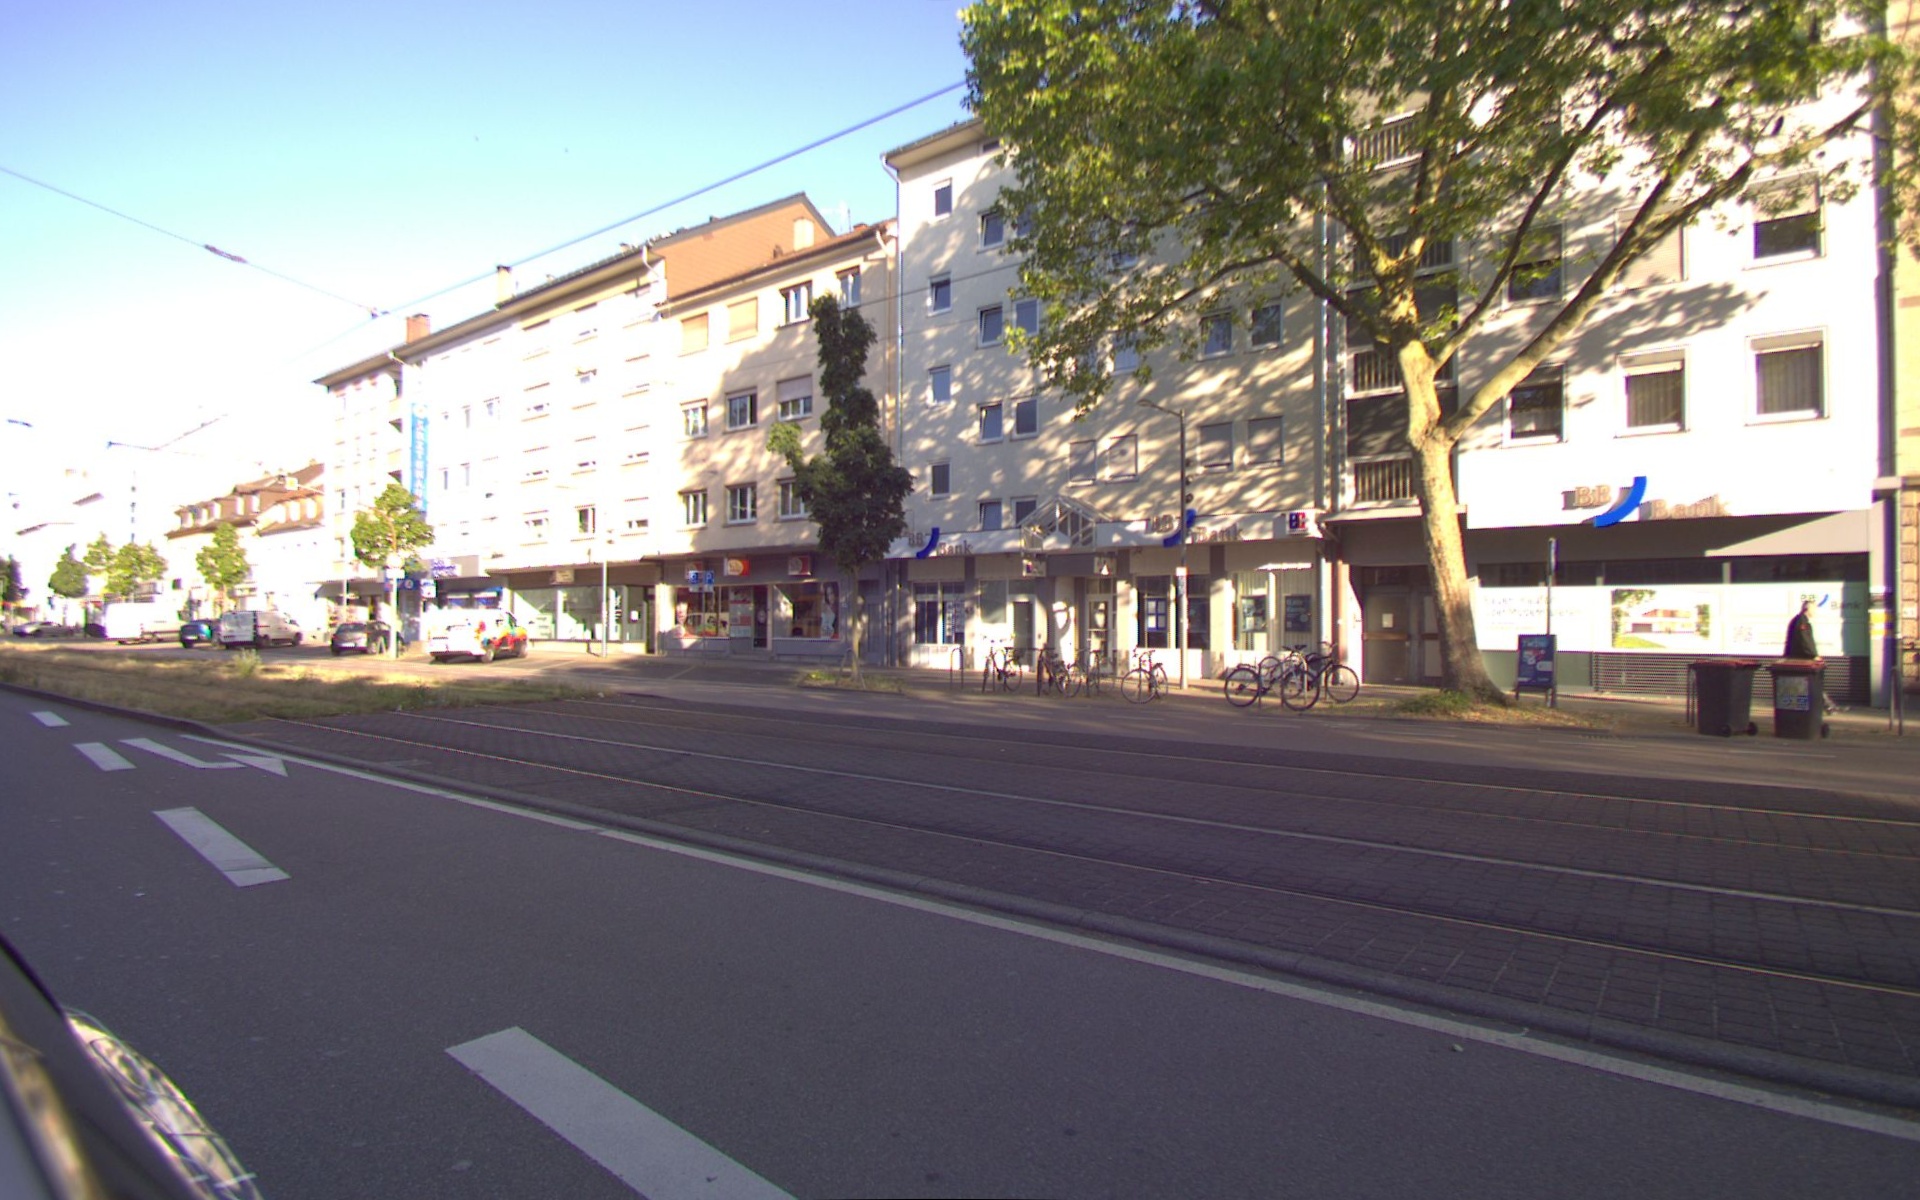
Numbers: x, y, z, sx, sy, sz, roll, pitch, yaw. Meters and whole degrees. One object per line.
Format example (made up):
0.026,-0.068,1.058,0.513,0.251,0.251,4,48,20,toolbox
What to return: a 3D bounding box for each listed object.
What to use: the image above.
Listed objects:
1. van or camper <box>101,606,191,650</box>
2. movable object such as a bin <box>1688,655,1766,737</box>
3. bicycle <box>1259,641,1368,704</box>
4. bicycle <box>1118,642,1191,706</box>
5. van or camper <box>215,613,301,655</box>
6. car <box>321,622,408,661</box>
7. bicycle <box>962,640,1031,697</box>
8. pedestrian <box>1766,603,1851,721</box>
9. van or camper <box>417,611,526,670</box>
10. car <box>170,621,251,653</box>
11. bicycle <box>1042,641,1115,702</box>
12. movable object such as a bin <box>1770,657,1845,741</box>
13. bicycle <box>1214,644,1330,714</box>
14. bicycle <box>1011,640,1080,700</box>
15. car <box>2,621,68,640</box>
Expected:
-53.139,1.736,66.249,1.967,2.687,6.415,-1,0,-14,van or camper
10.715,1.324,14.153,0.536,1.102,0.649,0,-2,-11,movable object such as a bin
6.771,1.372,19.446,1.910,1.133,0.503,-1,-1,40,bicycle
3.805,1.414,19.723,0.651,1.133,1.877,-1,-1,36,bicycle
-36.844,1.727,53.275,1.772,2.004,4.457,-1,0,-6,van or camper
-26.236,1.785,44.756,1.741,1.501,4.459,-1,0,-8,car
0.822,1.460,22.023,0.533,1.133,1.877,-1,-1,36,bicycle
13.458,0.960,16.061,0.970,1.801,0.612,-1,0,43,pedestrian
-17.822,1.425,37.176,1.922,1.912,4.819,-1,0,-4,van or camper
-42.410,2.075,57.342,1.851,1.598,4.005,-1,0,-5,car
2.448,1.438,20.768,0.651,1.133,1.877,-1,-1,36,bicycle
11.475,1.325,13.717,0.469,1.102,0.575,0,-2,-11,movable object such as a bin
5.494,1.372,17.909,1.910,1.133,0.503,-1,-1,40,bicycle
1.816,1.445,21.261,0.533,1.133,1.877,-1,-1,36,bicycle
-80.269,2.623,87.880,1.753,1.501,3.896,-1,0,15,car
